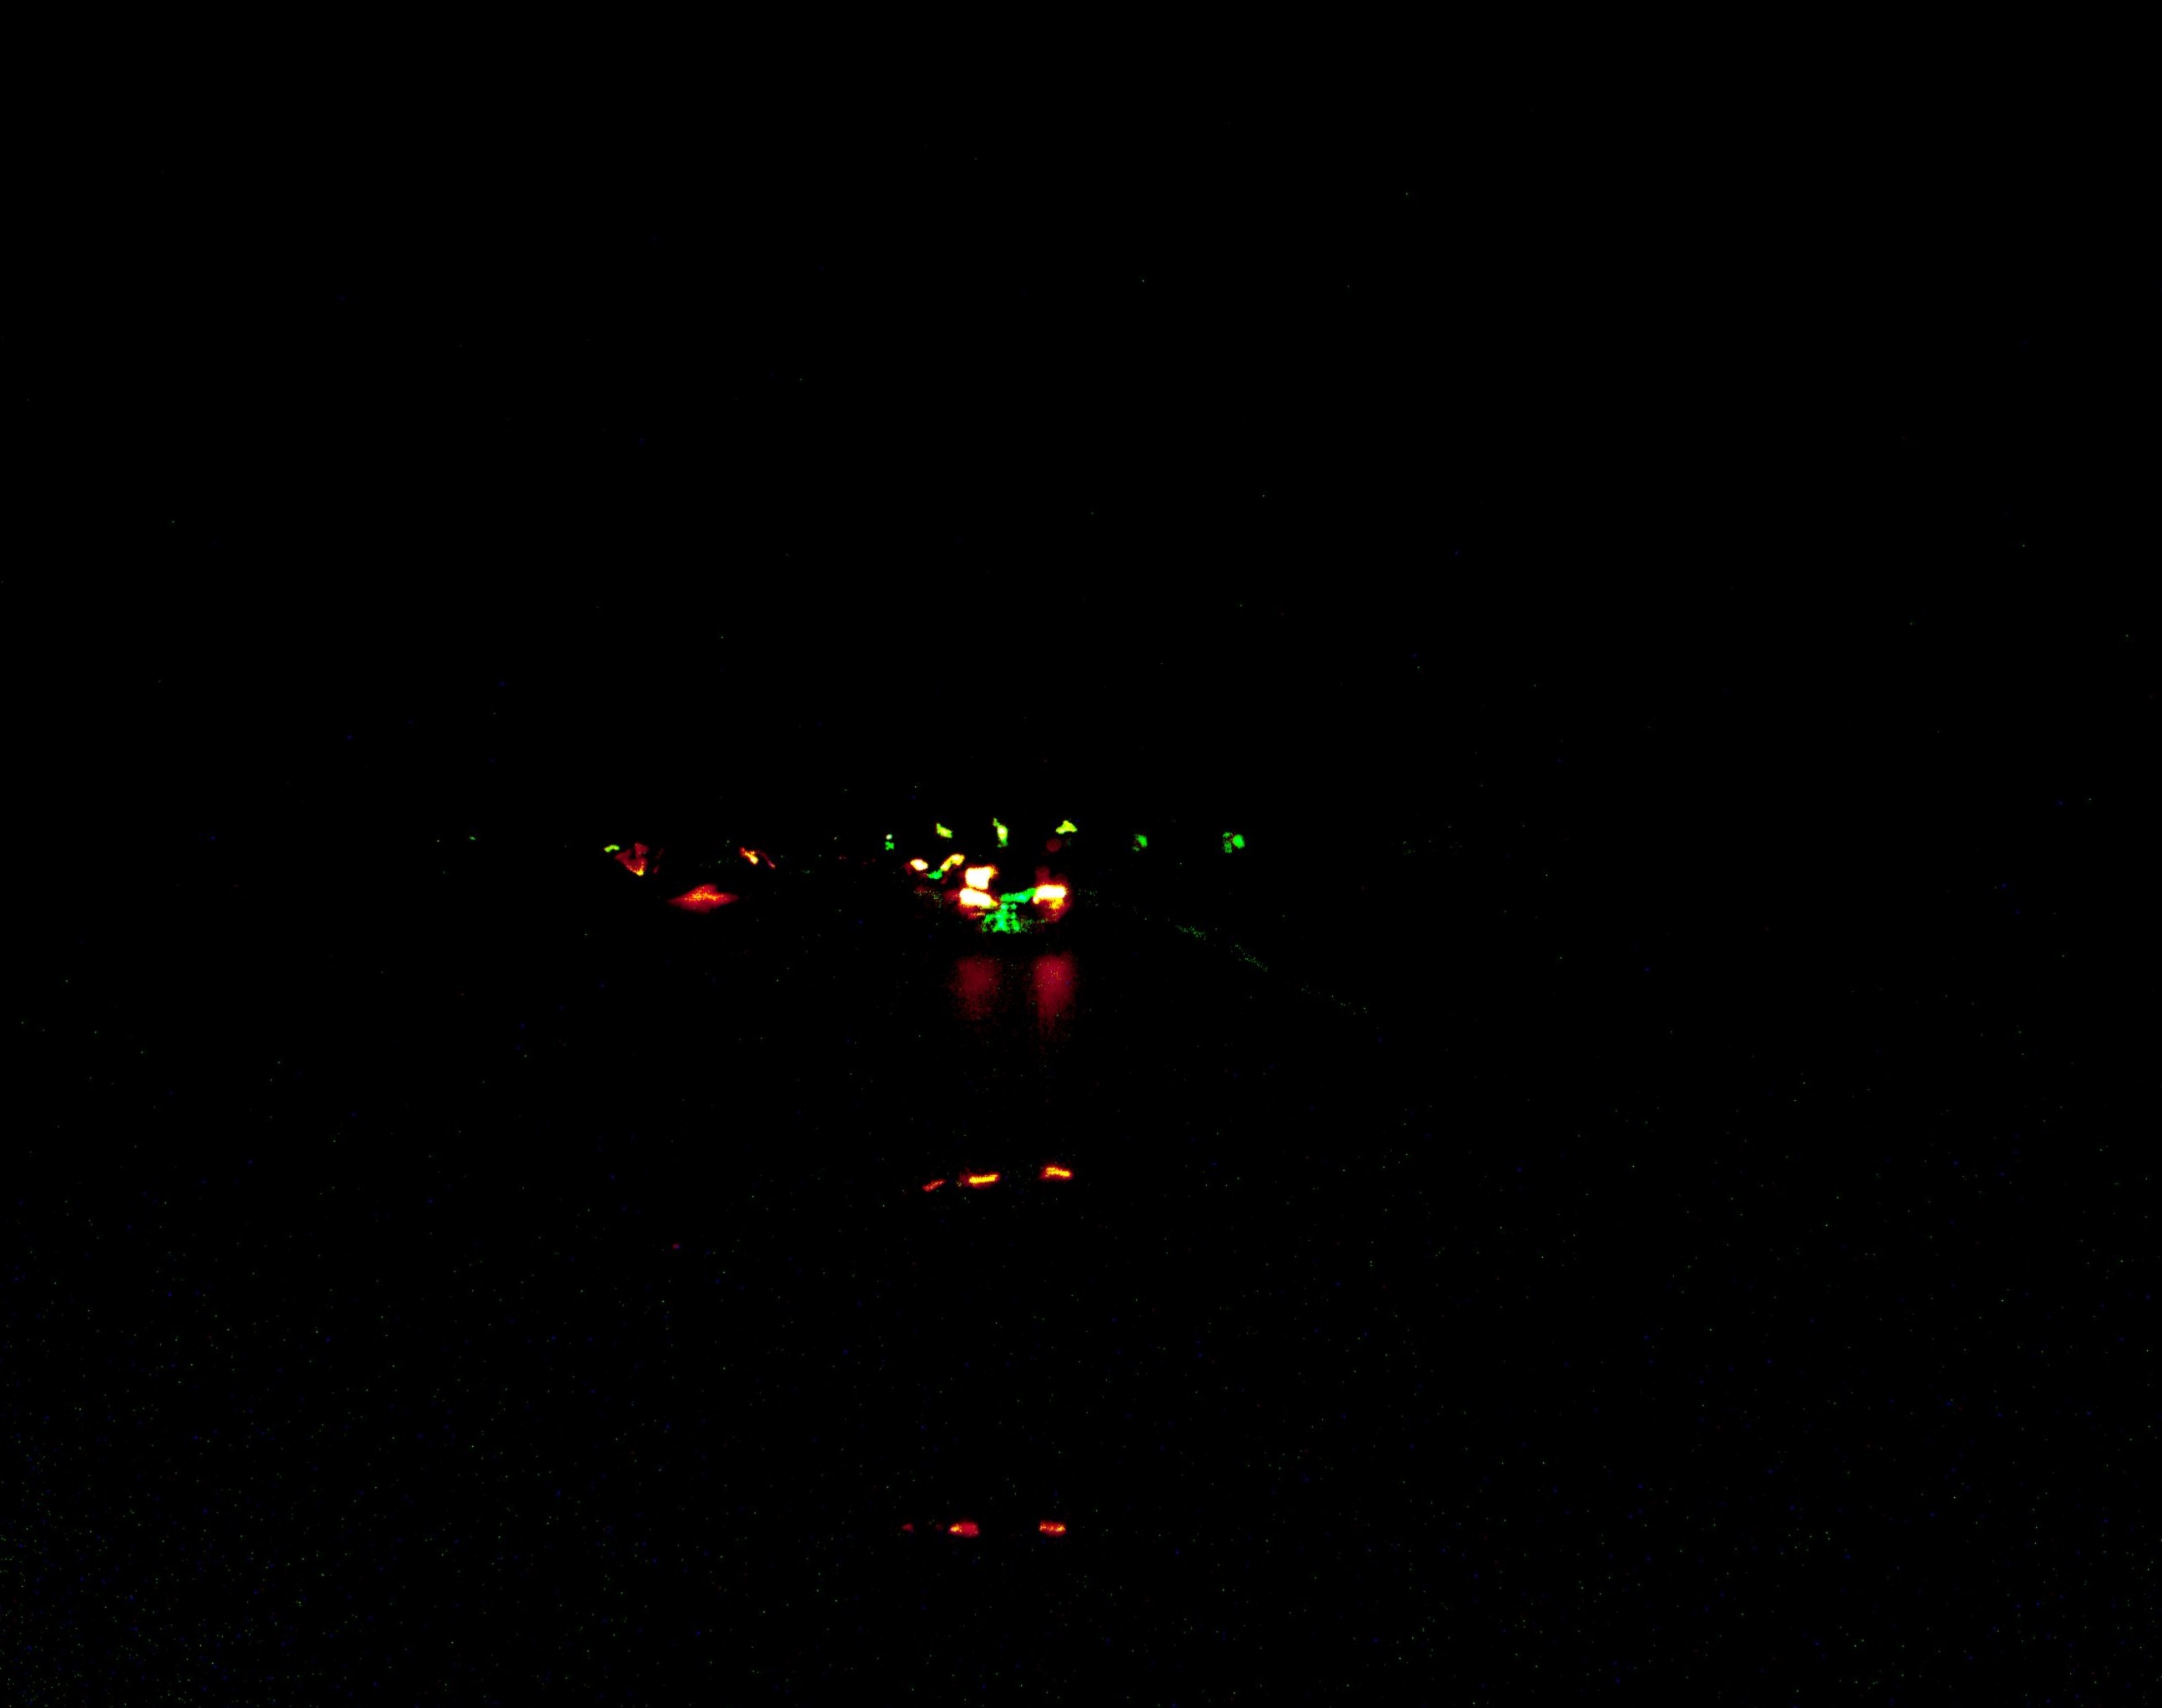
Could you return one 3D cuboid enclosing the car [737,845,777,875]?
[{"bbox_3d":[-23.416,0.413,58.820,1.909,1.997,4.004,-3,1,-33],"label":"car"}]

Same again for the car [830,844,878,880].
[{"bbox_3d":[-13.712,0.452,49.073,1.906,2.040,4.009,-1,1,-28],"label":"car"}]

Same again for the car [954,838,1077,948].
[{"bbox_3d":[-1.239,0.558,14.600,1.859,1.647,4.059,-2,1,-7],"label":"car"}]

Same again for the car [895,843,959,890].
[{"bbox_3d":[-6.280,0.438,32.956,1.902,1.720,4.018,-2,1,-20],"label":"car"}]
